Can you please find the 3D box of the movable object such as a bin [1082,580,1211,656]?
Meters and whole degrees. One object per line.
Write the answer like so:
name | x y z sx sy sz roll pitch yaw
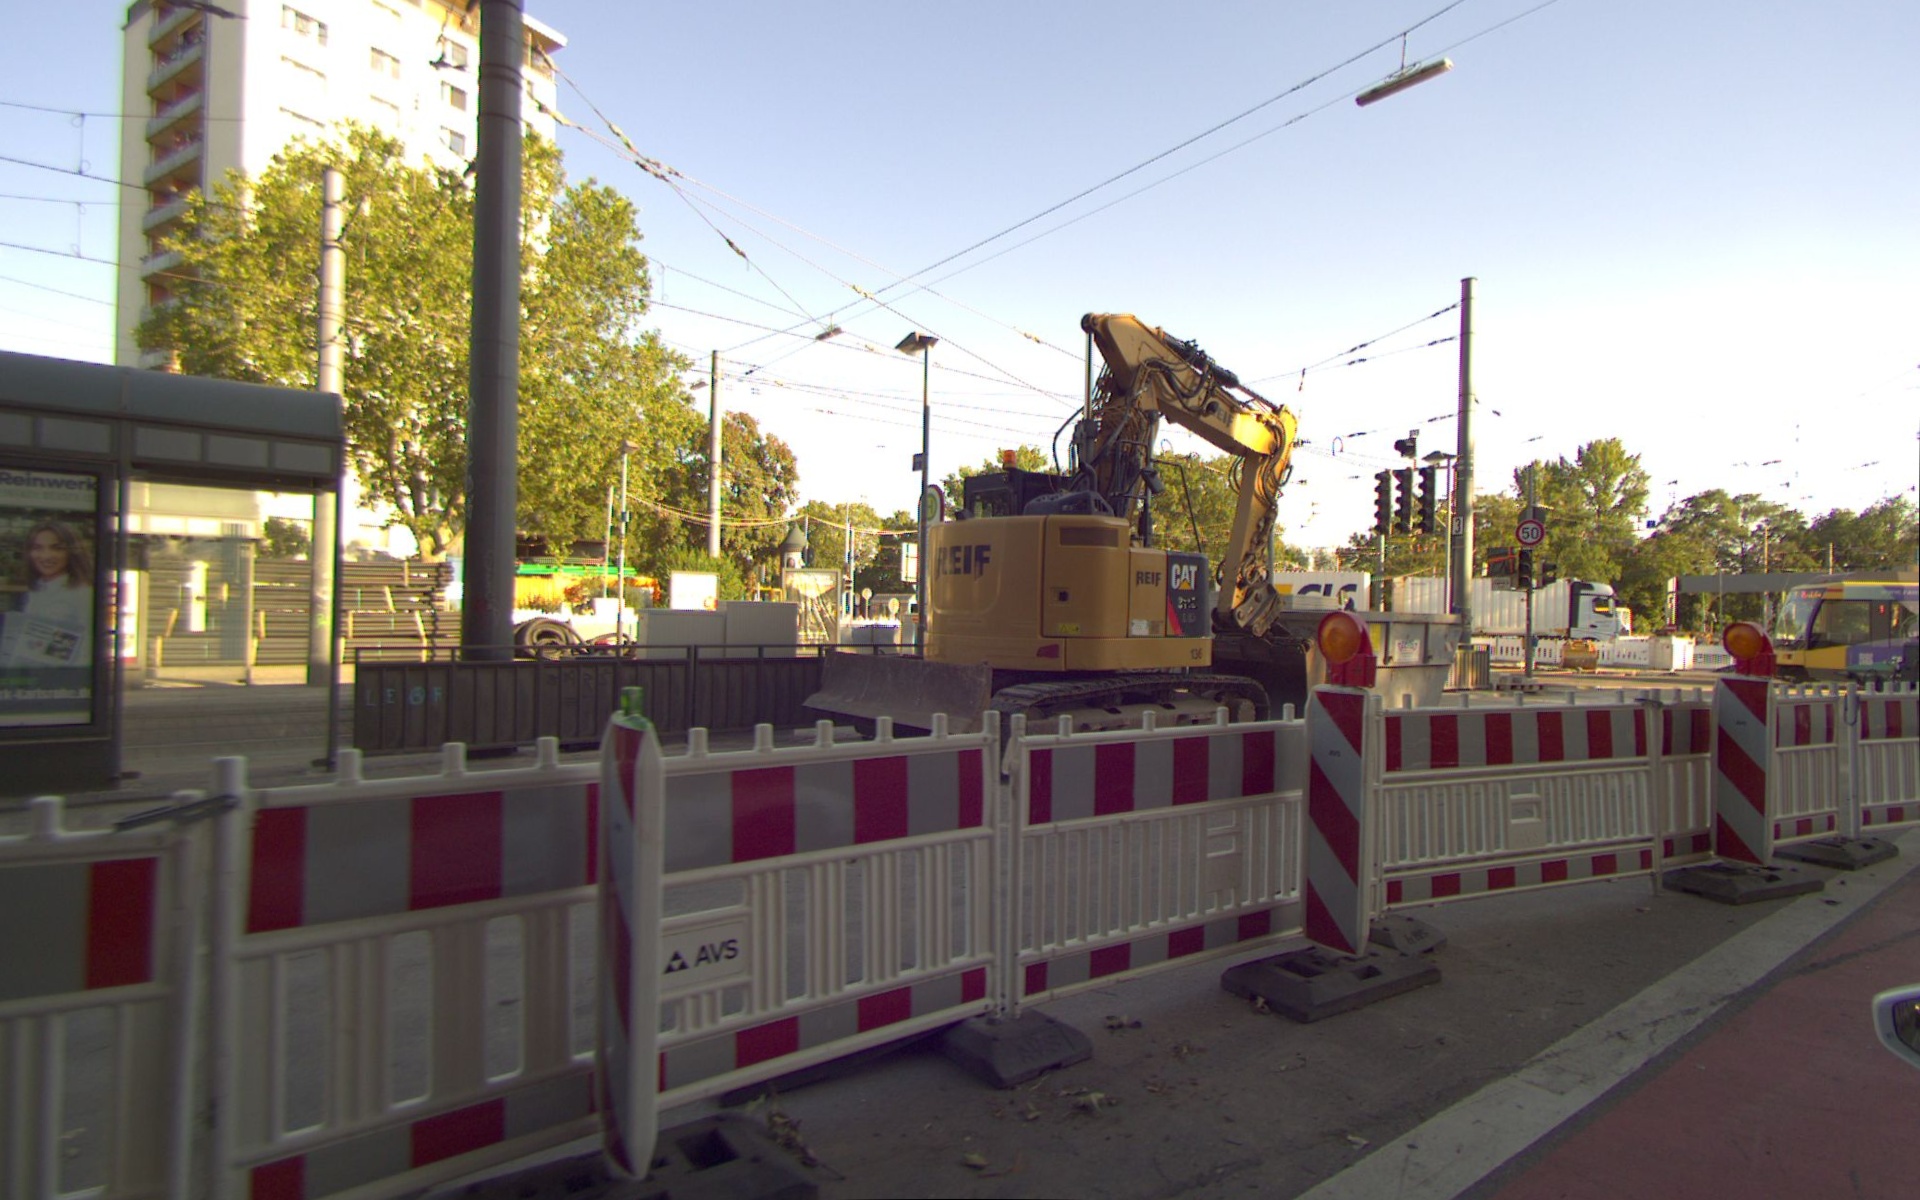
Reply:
movable object such as a bin | 6.999 0.700 37.549 4.550 2.674 2.138 2 -1 -33

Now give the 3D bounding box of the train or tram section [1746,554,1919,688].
train or tram section | 30.104 0.757 27.741 13.125 3.580 2.861 2 0 14

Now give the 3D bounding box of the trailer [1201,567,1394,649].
trailer | 17.385 0.292 52.022 9.076 3.848 2.892 2 2 27

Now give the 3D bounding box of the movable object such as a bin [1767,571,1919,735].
movable object such as a bin | 15.526 0.790 15.339 5.112 2.287 1.997 2 1 -8

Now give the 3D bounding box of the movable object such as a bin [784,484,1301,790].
movable object such as a bin | 0.997 0.318 10.317 4.863 2.348 2.620 2 0 -41

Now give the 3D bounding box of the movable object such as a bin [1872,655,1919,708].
movable object such as a bin | 18.118 1.537 19.012 1.404 0.929 0.927 2 -1 -33

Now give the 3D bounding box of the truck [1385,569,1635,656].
truck | 26.598 0.583 49.105 10.221 3.840 2.902 2 -1 12
